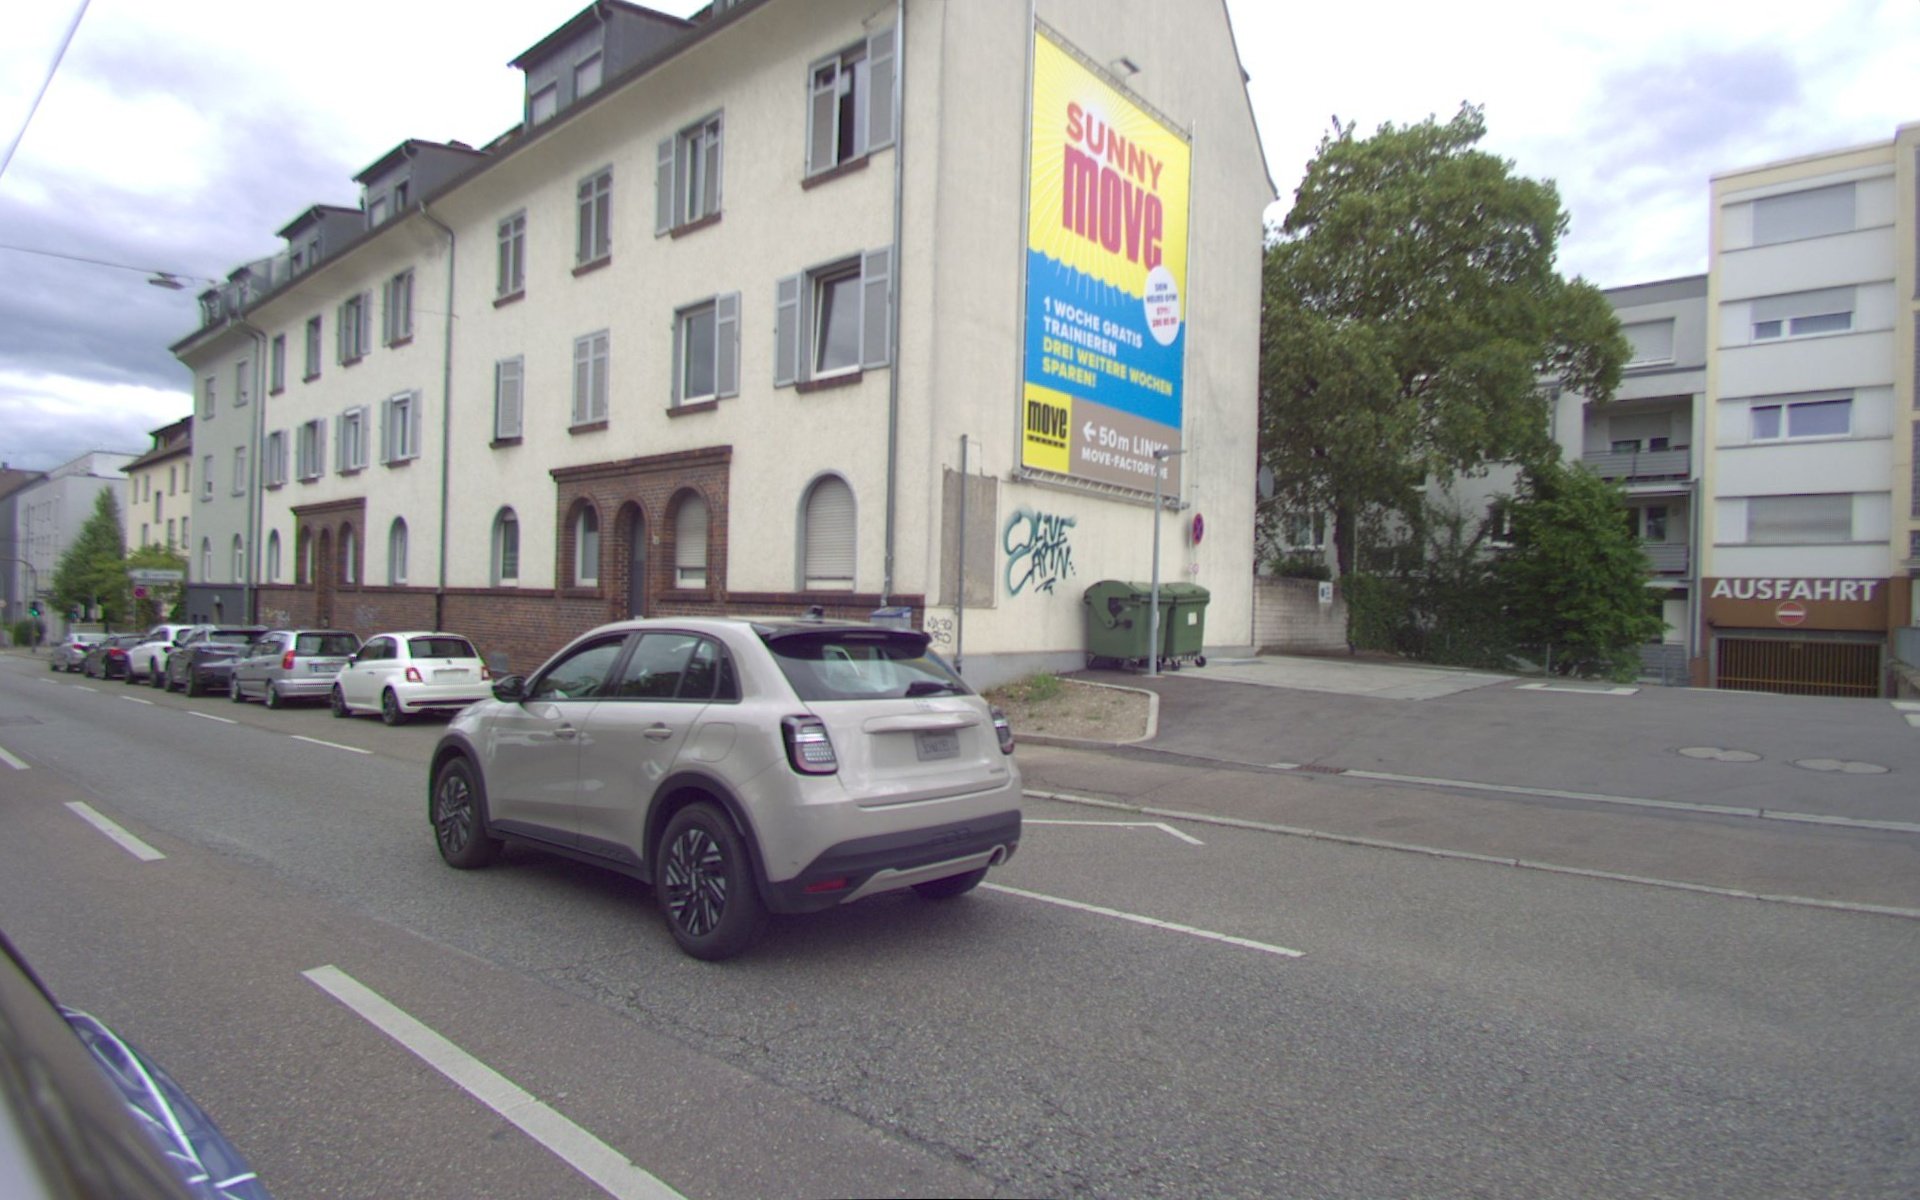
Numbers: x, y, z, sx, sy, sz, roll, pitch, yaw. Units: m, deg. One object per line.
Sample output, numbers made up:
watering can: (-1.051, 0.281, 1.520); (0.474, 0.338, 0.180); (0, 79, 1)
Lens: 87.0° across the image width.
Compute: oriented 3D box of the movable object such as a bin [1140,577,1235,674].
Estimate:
movable object such as a bin: (3.825, 0.443, 16.984); (1.104, 1.550, 1.251); (-2, -4, 41)

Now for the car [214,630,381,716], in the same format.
car: (-13.518, 1.441, 20.578); (4.079, 1.570, 1.709); (-2, -5, 41)

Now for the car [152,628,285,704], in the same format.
car: (-17.446, 1.503, 23.741); (4.502, 1.611, 1.708); (-2, -3, 43)

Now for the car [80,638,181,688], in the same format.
car: (-25.686, 1.901, 31.287); (4.189, 1.440, 1.709); (-2, -3, 41)

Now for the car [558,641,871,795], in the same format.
car: (-2.836, 1.180, 11.317); (3.663, 1.436, 1.602); (-2, -3, 42)

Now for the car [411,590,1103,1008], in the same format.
car: (-1.359, 0.814, 5.744); (3.998, 1.537, 1.779); (-2, -4, 41)

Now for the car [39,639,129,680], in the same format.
car: (-31.274, 2.089, 36.095); (4.333, 1.385, 1.709); (-2, -3, 40)

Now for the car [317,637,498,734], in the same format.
car: (-9.470, 1.377, 17.249); (3.602, 1.486, 1.531); (-2, -3, 41)

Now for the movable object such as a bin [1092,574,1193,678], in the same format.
movable object such as a bin: (2.883, 0.425, 15.946); (1.104, 1.550, 1.251); (-2, -4, 41)

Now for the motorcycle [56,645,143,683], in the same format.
motorcycle: (-28.833, 2.152, 33.947); (0.802, 1.245, 2.030); (-1, -4, 23)

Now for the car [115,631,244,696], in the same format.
car: (-21.280, 1.683, 27.535); (4.640, 1.634, 1.826); (-2, -3, 40)
